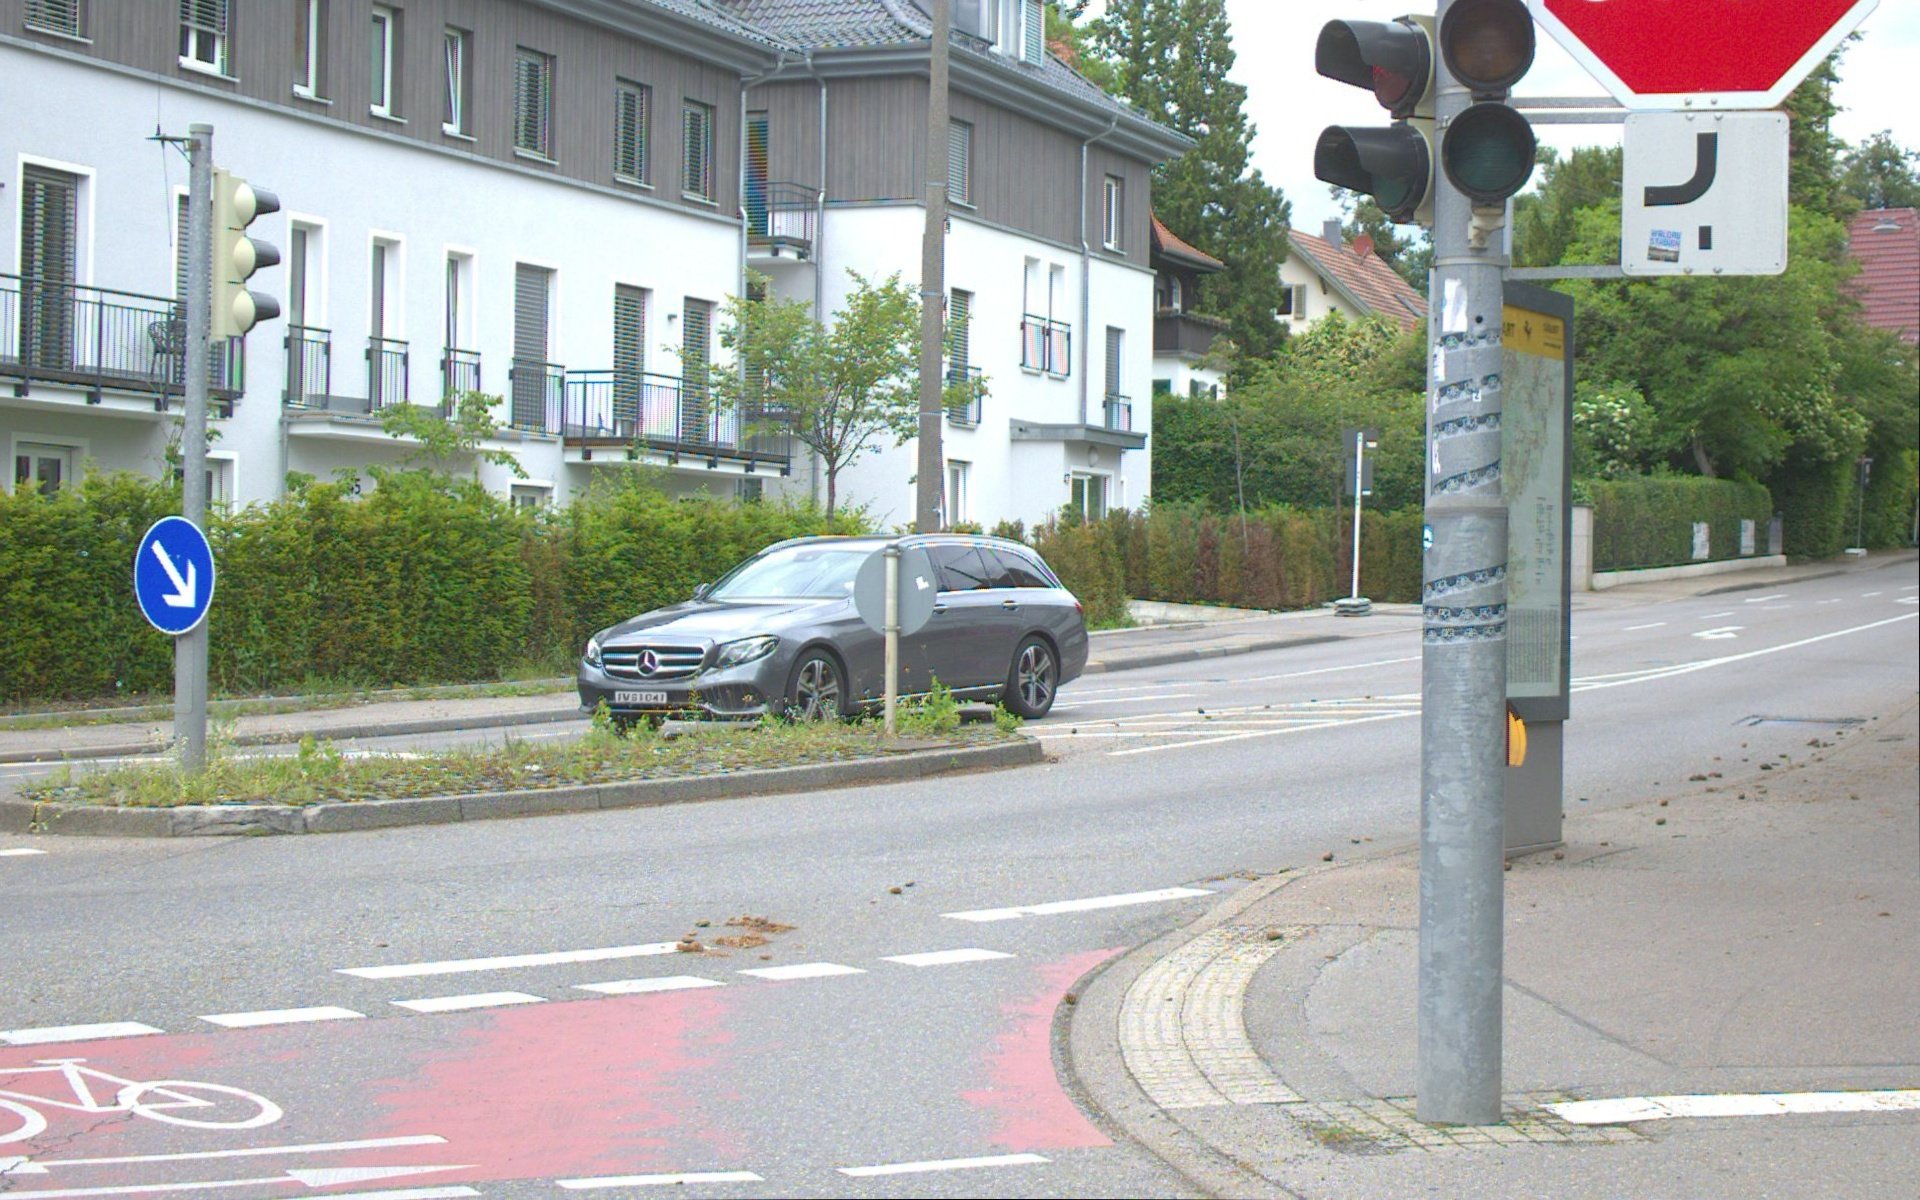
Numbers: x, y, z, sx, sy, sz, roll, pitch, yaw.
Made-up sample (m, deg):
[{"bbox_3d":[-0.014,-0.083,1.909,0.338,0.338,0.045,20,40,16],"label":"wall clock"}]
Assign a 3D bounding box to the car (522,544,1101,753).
[{"bbox_3d":[-1.011,0.294,26.131,1.942,1.399,4.733,1,2,34],"label":"car"}]
